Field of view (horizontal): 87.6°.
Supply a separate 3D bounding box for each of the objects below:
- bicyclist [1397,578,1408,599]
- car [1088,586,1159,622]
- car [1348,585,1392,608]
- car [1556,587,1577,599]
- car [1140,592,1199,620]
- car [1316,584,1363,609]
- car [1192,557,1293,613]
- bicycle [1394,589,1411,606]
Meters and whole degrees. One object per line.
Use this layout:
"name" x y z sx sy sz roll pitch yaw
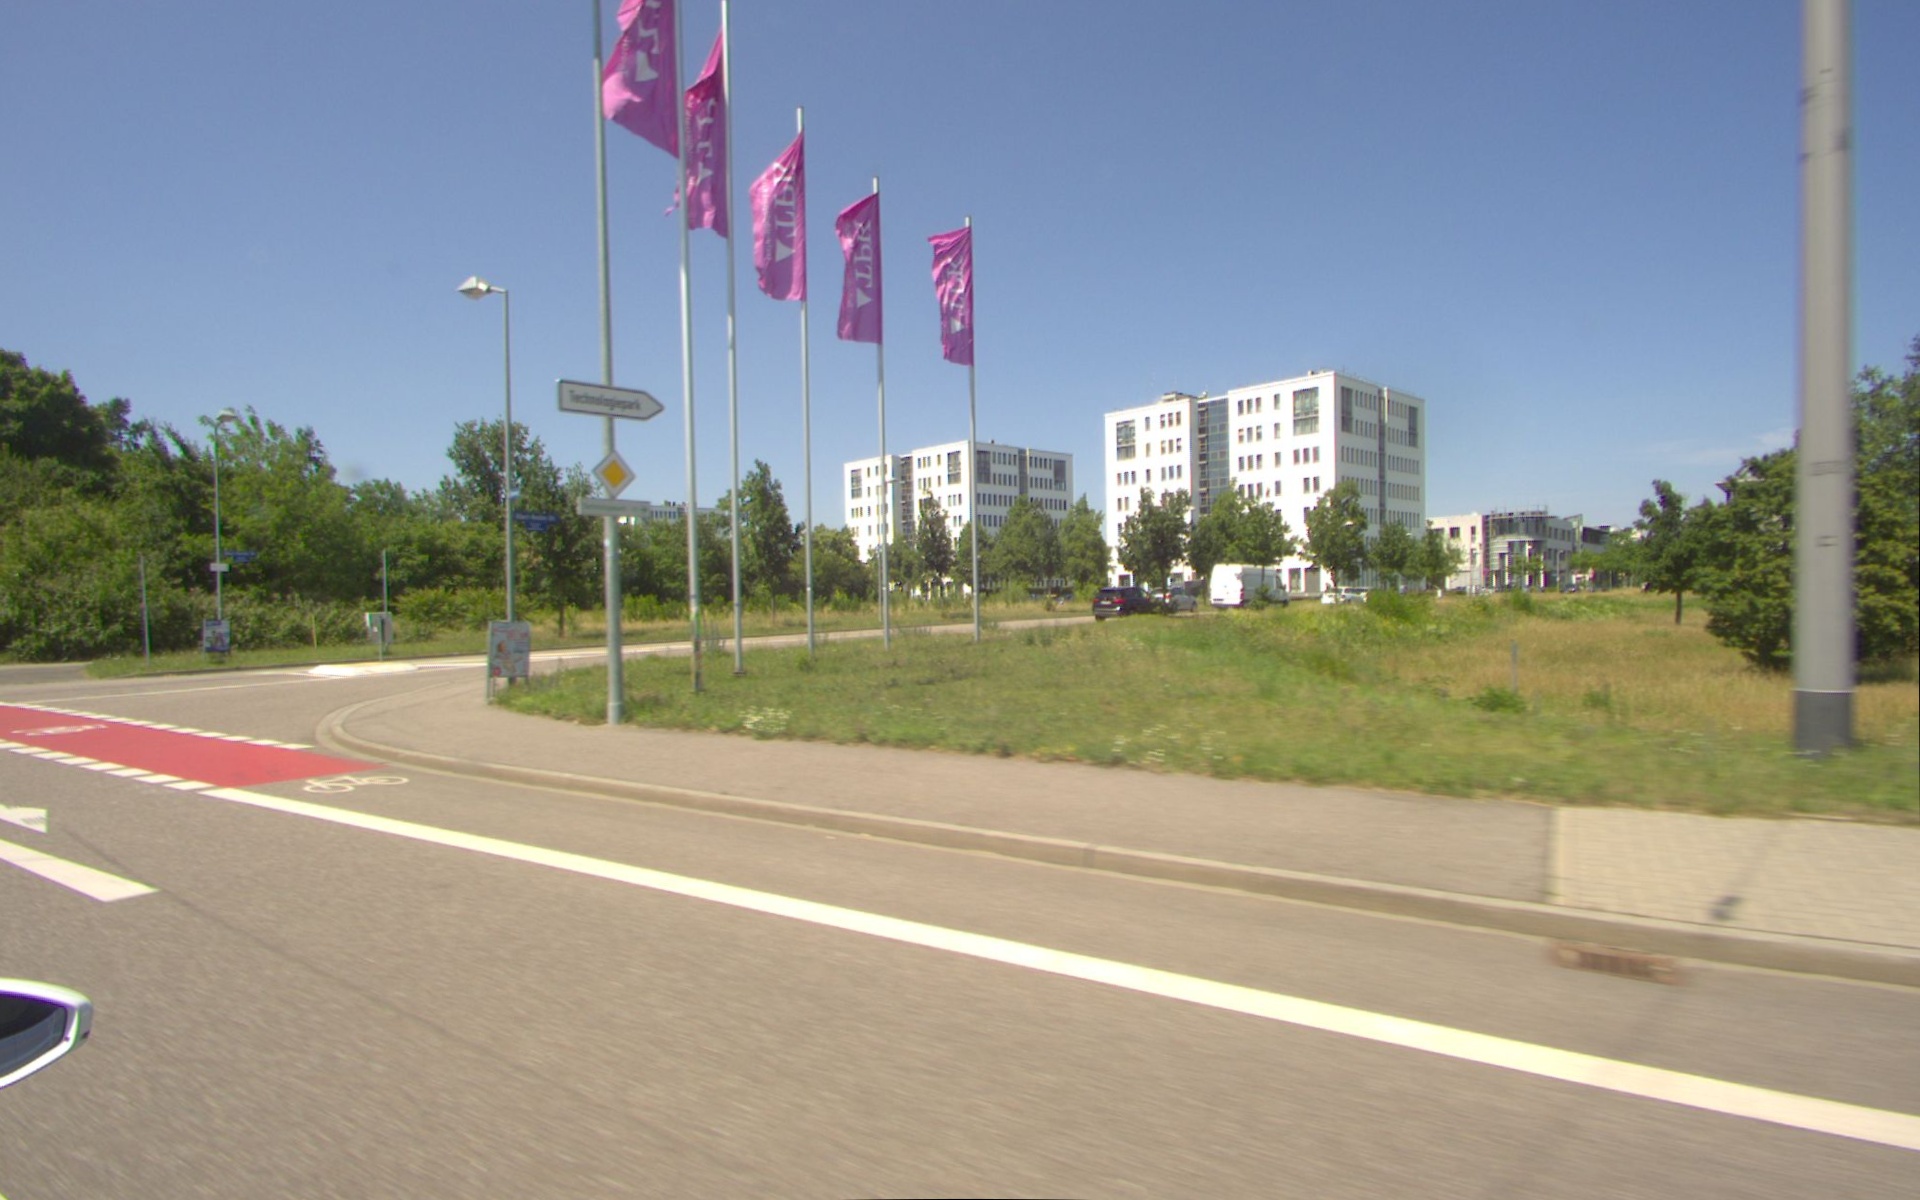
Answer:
"bicyclist" 34.501 -0.880 78.085 0.602 1.647 0.686 3 4 42
"car" 7.427 0.226 45.401 1.684 1.553 3.603 0 -1 37
"car" 28.428 -0.221 69.390 1.688 1.553 3.596 0 -1 43
"car" 83.897 -0.983 138.560 1.687 1.553 3.596 3 1 43
"car" 11.857 0.364 56.493 1.687 1.553 3.598 0 -1 42
"car" 24.859 -0.205 65.539 1.688 1.553 3.596 0 -1 43
"car" 15.755 -0.769 55.562 2.639 2.838 6.795 -1 -1 42
"bicycle" 34.486 -0.201 78.107 0.607 1.197 1.948 3 4 42
